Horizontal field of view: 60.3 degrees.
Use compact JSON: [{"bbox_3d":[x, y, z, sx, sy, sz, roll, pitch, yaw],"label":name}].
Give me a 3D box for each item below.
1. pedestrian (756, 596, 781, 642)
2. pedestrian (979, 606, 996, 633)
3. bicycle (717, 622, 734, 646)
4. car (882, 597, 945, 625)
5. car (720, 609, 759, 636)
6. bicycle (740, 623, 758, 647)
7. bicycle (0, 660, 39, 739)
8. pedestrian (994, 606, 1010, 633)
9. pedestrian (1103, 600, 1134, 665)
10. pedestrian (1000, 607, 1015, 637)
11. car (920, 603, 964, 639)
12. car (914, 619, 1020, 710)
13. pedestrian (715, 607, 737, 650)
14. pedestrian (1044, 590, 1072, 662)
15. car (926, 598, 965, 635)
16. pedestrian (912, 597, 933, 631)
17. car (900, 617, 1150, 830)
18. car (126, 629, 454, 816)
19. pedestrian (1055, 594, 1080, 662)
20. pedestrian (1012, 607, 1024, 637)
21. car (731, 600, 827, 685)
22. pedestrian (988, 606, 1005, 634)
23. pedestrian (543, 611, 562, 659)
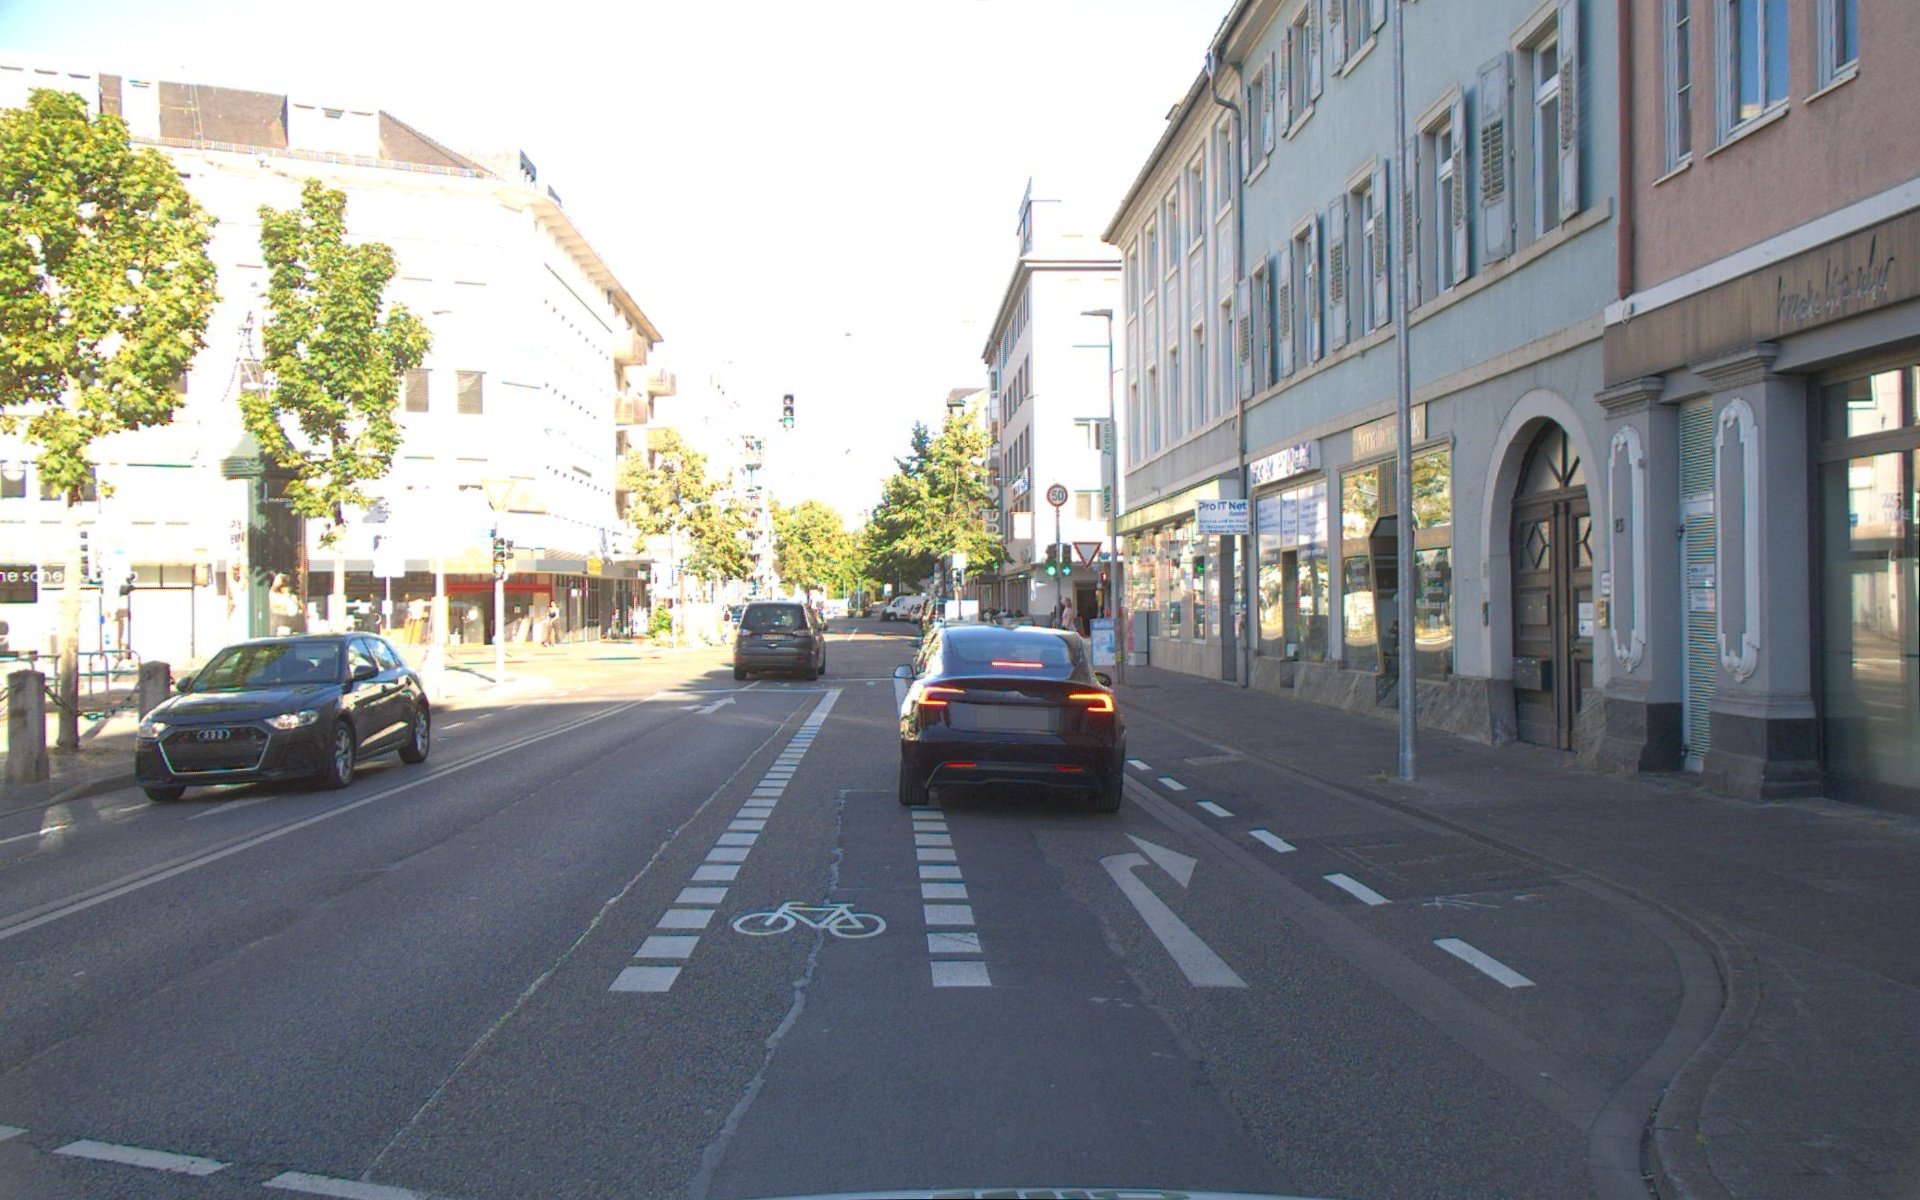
[{"bbox_3d":[-8.128,0.797,70.183,0.766,1.899,0.997,-4,1,-17],"label":"pedestrian"},{"bbox_3d":[1.421,1.027,85.514,0.695,1.371,1.058,-2,0,-6],"label":"pedestrian"},{"bbox_3d":[-9.790,1.432,69.119,0.472,0.972,1.449,-2,0,-16],"label":"bicycle"},{"bbox_3d":[-3.989,0.963,142.077,5.285,2.183,1.998,-2,0,-4],"label":"car"},{"bbox_3d":[-13.718,1.364,102.977,1.953,1.626,3.999,-1,0,-1],"label":"car"},{"bbox_3d":[-8.931,1.481,70.052,0.543,0.985,1.788,-2,0,-14],"label":"bicycle"},{"bbox_3d":[-14.531,1.447,23.953,1.948,1.107,0.753,-1,0,-1],"label":"bicycle"},{"bbox_3d":[2.180,1.003,85.714,0.716,1.384,0.958,-2,0,-3],"label":"pedestrian"},{"bbox_3d":[4.378,0.891,45.735,0.676,1.732,0.912,-2,0,-2],"label":"pedestrian"},{"bbox_3d":[2.161,1.002,74.938,0.574,1.336,0.560,-2,0,-3],"label":"pedestrian"},{"bbox_3d":[-0.891,0.992,80.459,1.961,1.665,4.286,-1,0,-3],"label":"car"},{"bbox_3d":[0.076,1.081,29.354,1.726,1.443,4.353,-1,0,-1],"label":"car"},{"bbox_3d":[-9.737,1.188,68.823,0.778,1.742,0.651,-1,0,-18],"label":"pedestrian"},{"bbox_3d":[2.611,0.690,44.195,0.627,1.874,0.681,-1,0,-3],"label":"pedestrian"},{"bbox_3d":[-0.798,0.838,86.899,1.866,1.884,4.286,-1,0,-3],"label":"car"},{"bbox_3d":[-2.204,0.788,96.872,0.937,1.949,1.106,-2,0,13],"label":"pedestrian"},{"bbox_3d":[0.416,0.935,14.486,1.832,1.452,4.363,-1,0,-2],"label":"car"},{"bbox_3d":[-6.309,1.077,16.072,1.617,1.422,4.041,-3,0,-3],"label":"car"},{"bbox_3d":[2.835,0.730,43.662,0.561,1.790,0.649,-1,0,-3],"label":"pedestrian"},{"bbox_3d":[2.666,0.989,75.744,0.477,1.345,0.654,-2,0,4],"label":"pedestrian"},{"bbox_3d":[-4.037,0.913,37.416,1.866,1.763,4.286,-1,0,-3],"label":"car"},{"bbox_3d":[1.868,1.016,84.427,0.716,1.371,1.059,-2,0,-5],"label":"pedestrian"},{"bbox_3d":[-15.110,1.290,61.363,0.548,1.739,0.711,-2,0,-6],"label":"pedestrian"}]
